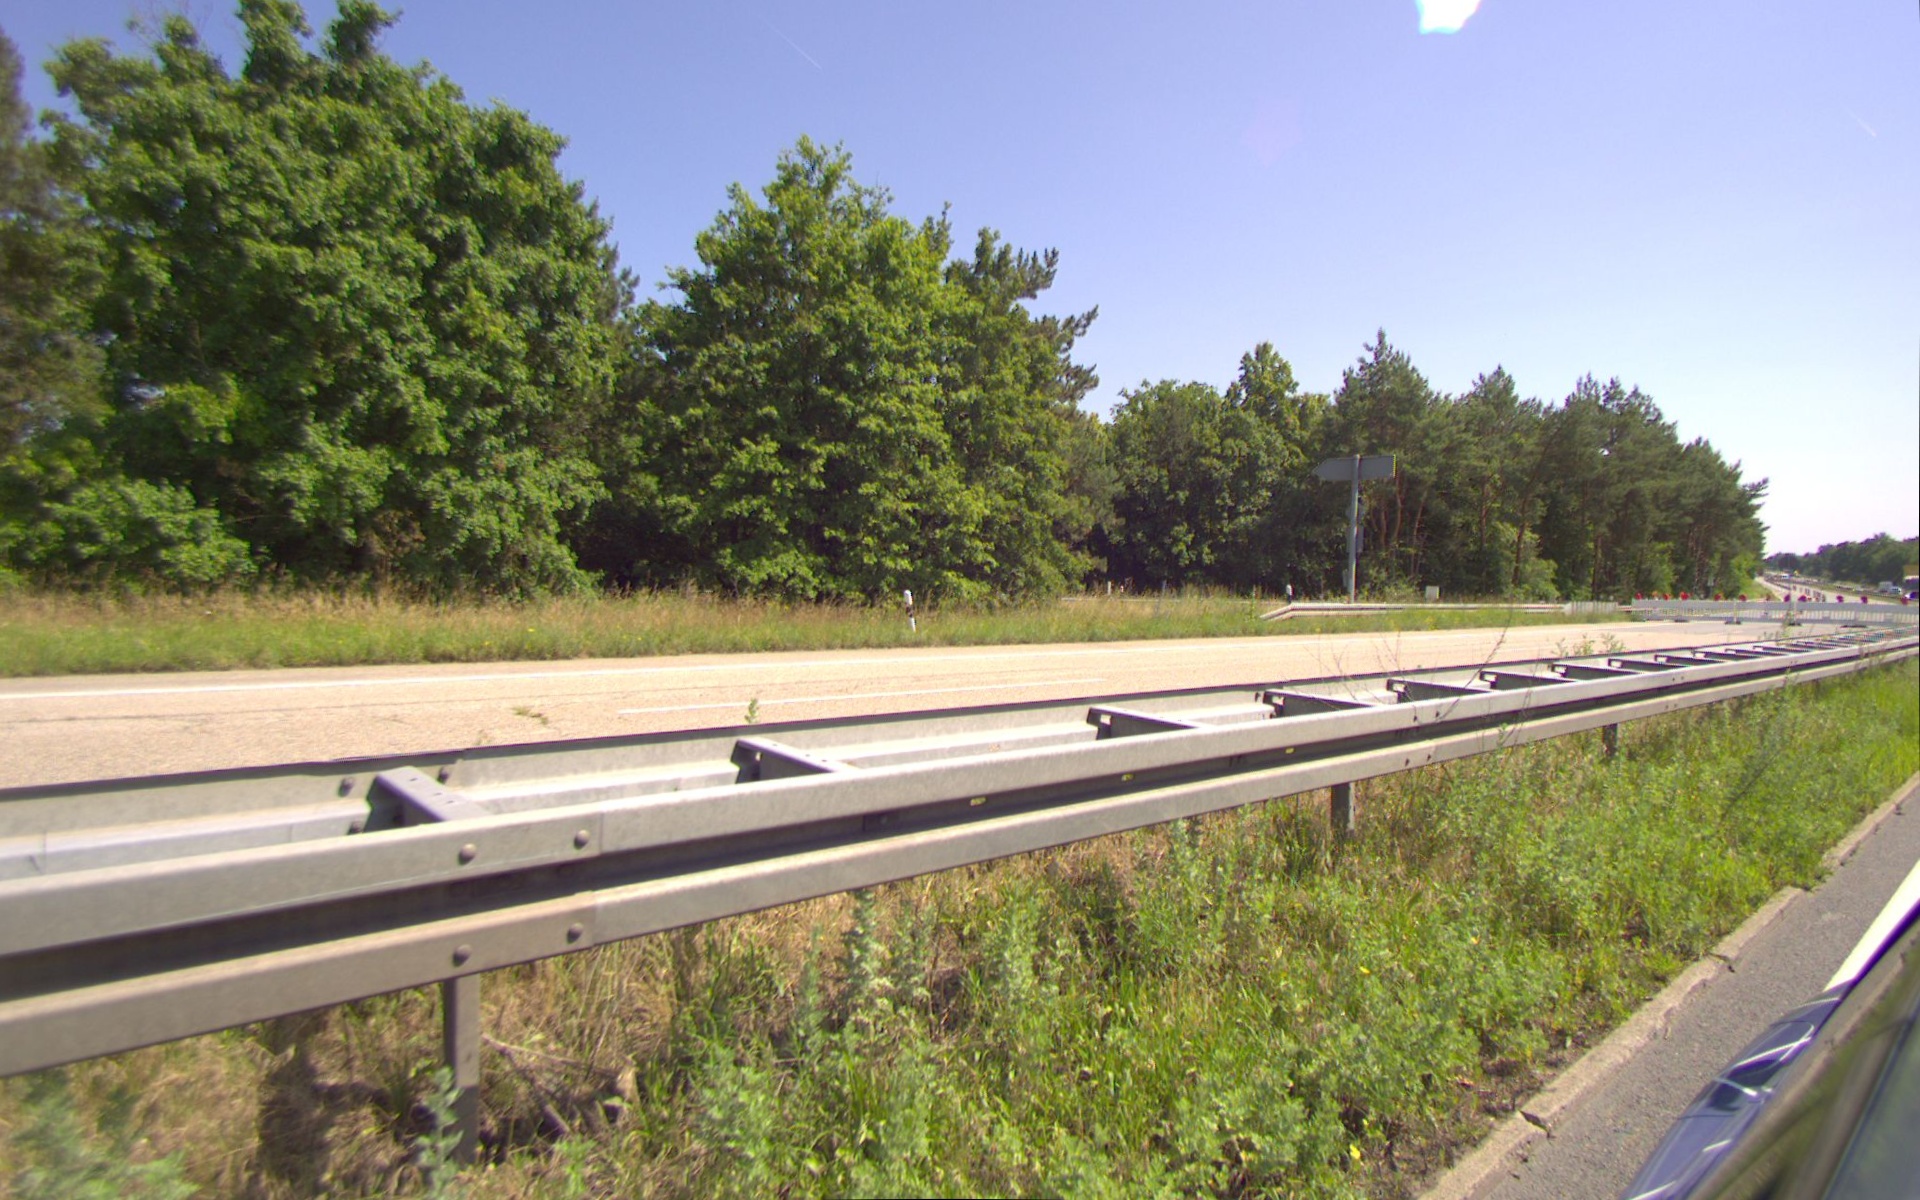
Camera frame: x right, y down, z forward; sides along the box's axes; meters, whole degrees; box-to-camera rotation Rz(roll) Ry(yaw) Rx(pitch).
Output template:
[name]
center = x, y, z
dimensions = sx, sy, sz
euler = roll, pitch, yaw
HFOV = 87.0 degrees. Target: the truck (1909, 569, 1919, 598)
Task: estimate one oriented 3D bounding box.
[truck]
center = 149.812, -2.515, 156.791
dimensions = 3.819, 4.343, 11.071
euler = 2, 1, 43
